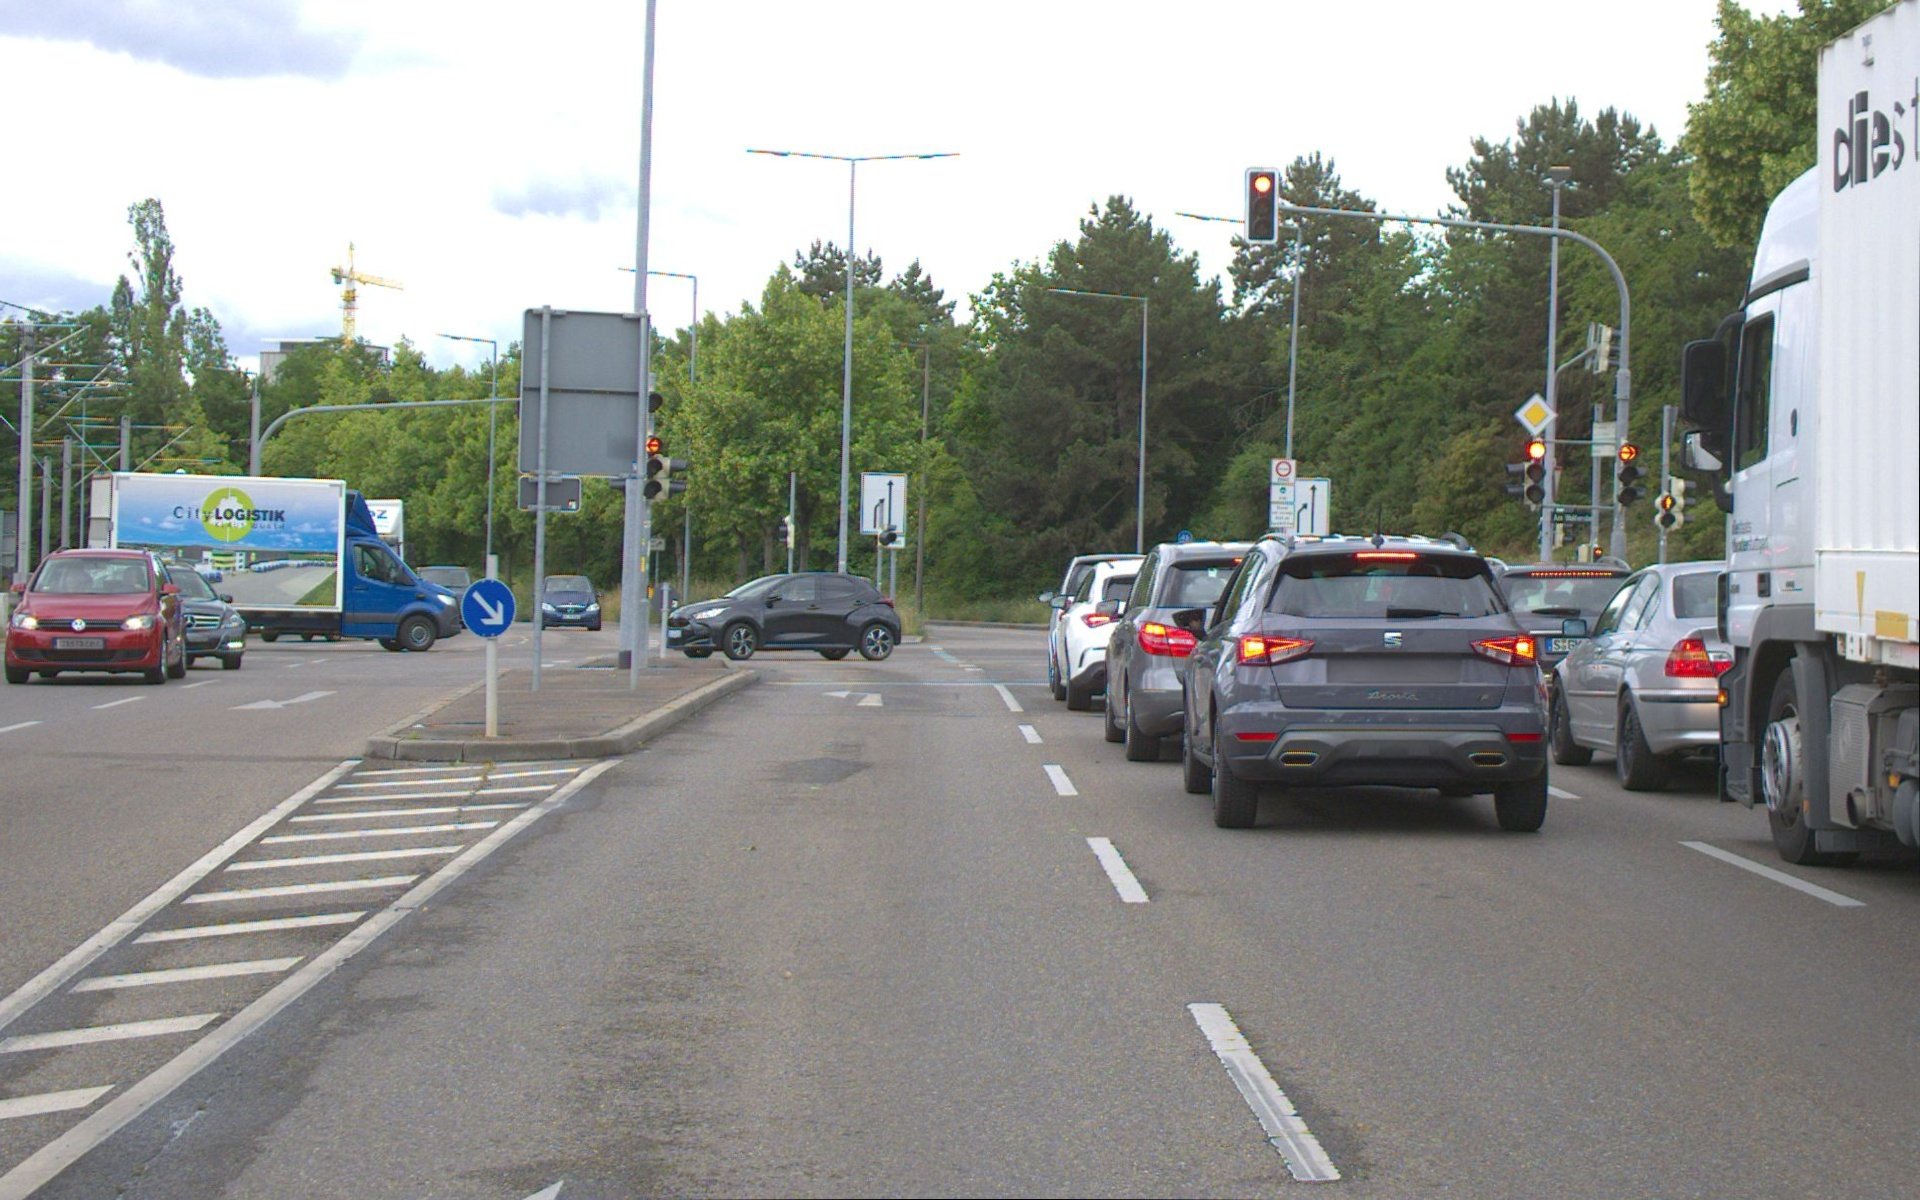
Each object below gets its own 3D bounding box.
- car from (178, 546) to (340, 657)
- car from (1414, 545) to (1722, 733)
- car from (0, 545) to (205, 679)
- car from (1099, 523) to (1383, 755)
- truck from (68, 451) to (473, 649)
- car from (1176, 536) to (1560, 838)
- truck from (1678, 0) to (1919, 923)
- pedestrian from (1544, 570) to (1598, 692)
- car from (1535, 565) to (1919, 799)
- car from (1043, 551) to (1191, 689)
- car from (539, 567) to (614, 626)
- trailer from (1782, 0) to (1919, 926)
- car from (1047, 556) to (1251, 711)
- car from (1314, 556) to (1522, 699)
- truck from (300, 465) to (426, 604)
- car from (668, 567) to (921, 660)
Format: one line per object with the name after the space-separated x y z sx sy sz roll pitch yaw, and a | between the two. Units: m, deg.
-9.714 -0.010 47.926 1.690 1.434 4.547 0 1 -5 | car
4.942 0.294 28.482 1.825 1.430 4.213 0 0 0 | car
-9.980 0.103 40.221 1.702 1.483 4.087 0 1 -5 | car
1.933 0.210 24.732 1.799 1.518 4.187 0 1 1 | car
-13.314 -0.959 66.391 7.237 3.586 2.693 1 3 -21 | truck
2.144 0.403 18.998 1.698 1.481 4.000 0 1 1 | car
4.974 -0.620 15.589 2.571 3.693 4.106 0 2 1 | truck
7.278 0.365 40.969 0.611 1.448 0.353 1 0 8 | pedestrian
4.903 0.454 22.031 1.812 1.349 4.118 0 1 1 | car
1.754 0.217 39.017 1.535 1.499 2.670 0 0 0 | car
-10.940 -0.121 97.805 1.915 1.571 4.001 0 1 -9 | car
4.981 -0.543 11.582 2.566 3.693 7.764 0 1 0 | trailer
1.792 0.292 33.776 1.721 1.417 4.357 0 0 0 | car
4.713 0.261 35.829 1.545 1.399 4.000 0 0 -1 | car
-16.561 -1.832 95.891 2.659 3.636 9.504 1 1 -5 | truck
-2.773 0.207 57.615 3.925 1.491 1.599 0 1 -24 | car
